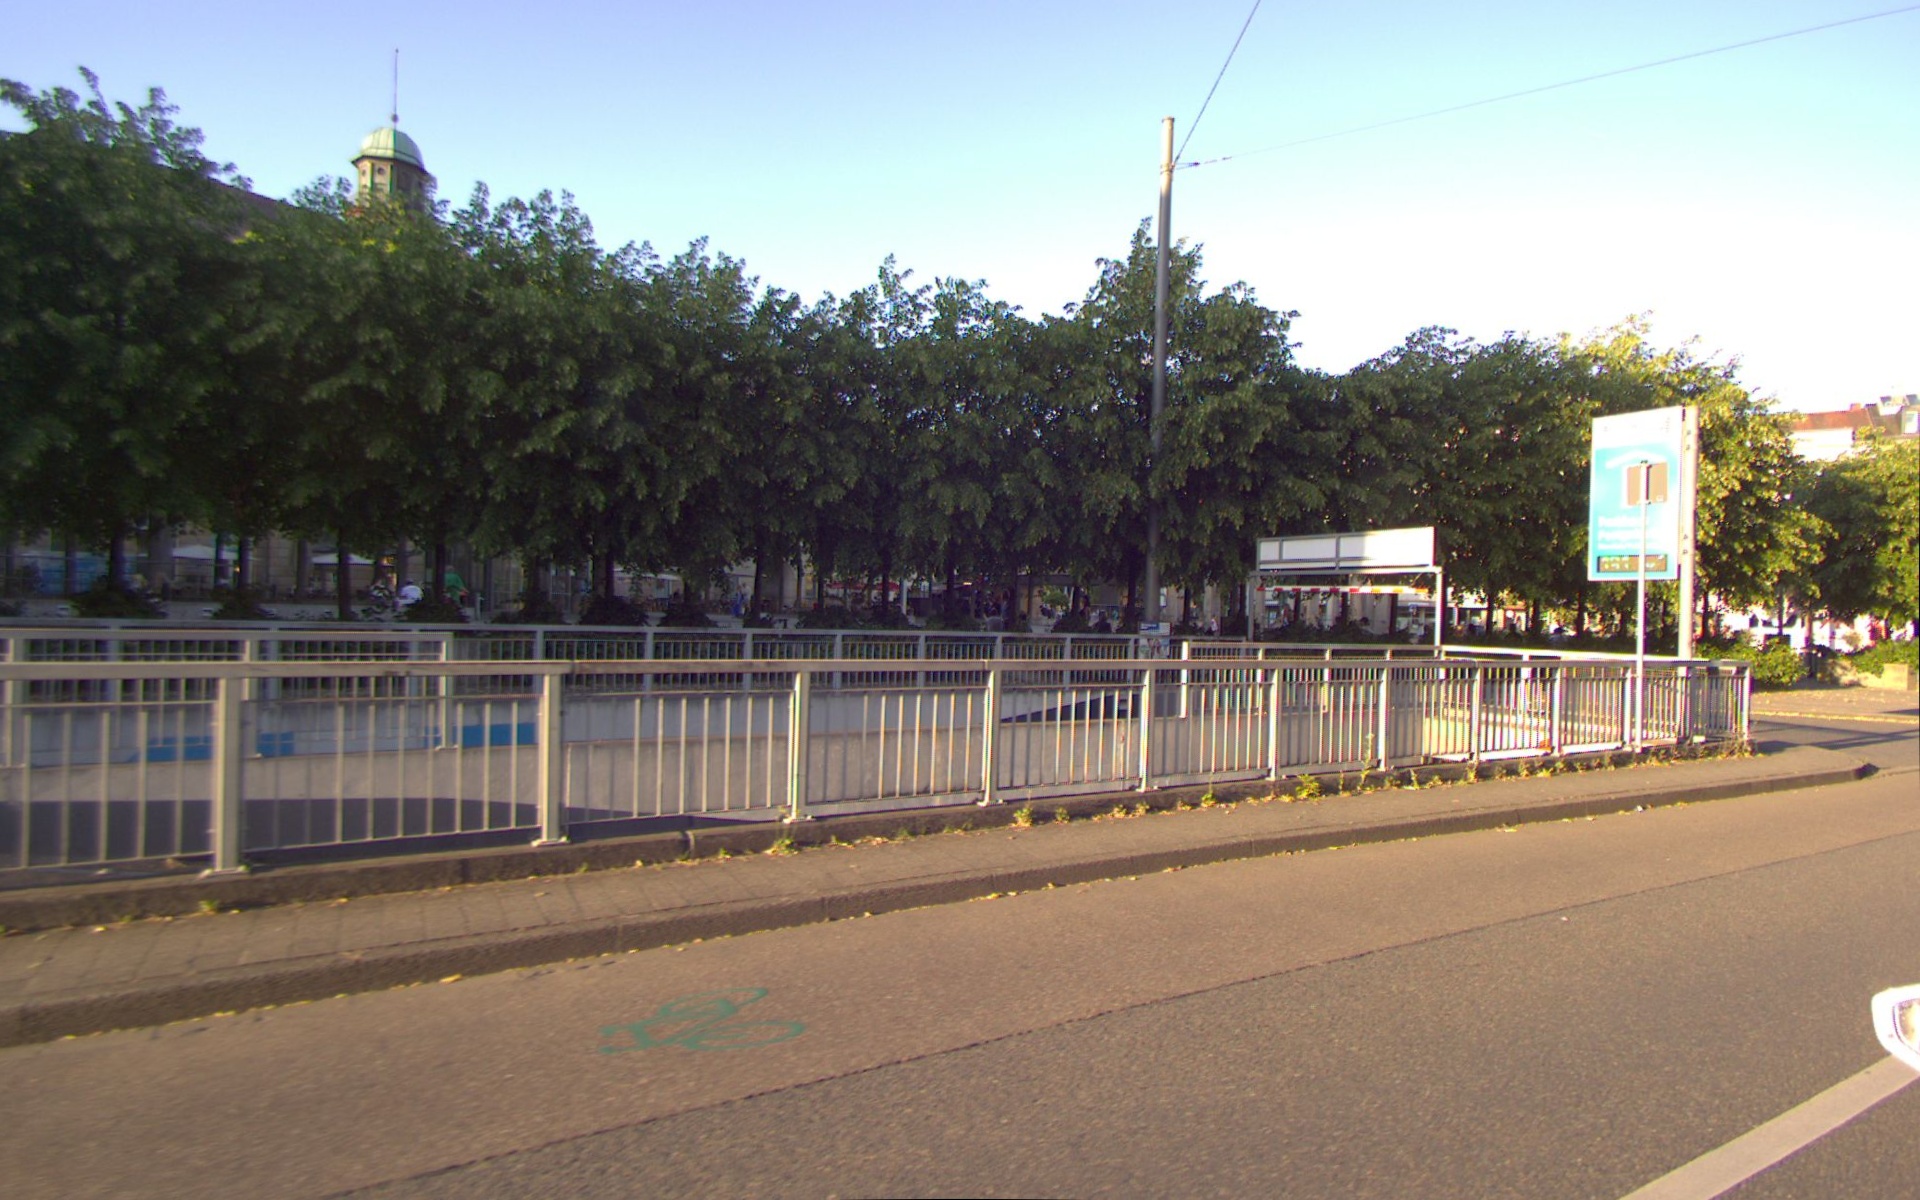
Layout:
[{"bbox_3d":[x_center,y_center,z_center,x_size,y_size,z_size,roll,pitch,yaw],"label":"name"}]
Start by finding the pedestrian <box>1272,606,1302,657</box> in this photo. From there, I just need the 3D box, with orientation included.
[{"bbox_3d":[12.697,1.217,39.029,0.720,1.974,0.800,1,0,-22],"label":"pedestrian"}]

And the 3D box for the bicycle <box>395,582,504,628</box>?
[{"bbox_3d":[-13.178,0.148,26.000,0.937,1.116,2.319,1,-1,38],"label":"bicycle"}]

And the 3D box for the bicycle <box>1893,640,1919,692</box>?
[{"bbox_3d":[25.226,1.735,25.320,0.801,1.301,2.507,2,0,-9],"label":"bicycle"}]

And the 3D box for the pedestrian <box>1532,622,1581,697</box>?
[{"bbox_3d":[15.944,1.579,26.856,0.719,1.974,0.802,1,0,-17],"label":"pedestrian"}]

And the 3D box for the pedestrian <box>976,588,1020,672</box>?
[{"bbox_3d":[0.938,0.733,24.928,0.902,2.040,0.913,2,0,-7],"label":"pedestrian"}]

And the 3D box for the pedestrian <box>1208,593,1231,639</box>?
[{"bbox_3d":[11.458,0.714,44.329,0.790,1.974,0.686,1,0,31],"label":"pedestrian"}]

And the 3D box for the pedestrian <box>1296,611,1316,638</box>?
[{"bbox_3d":[20.580,1.457,59.713,0.963,1.520,0.988,1,0,29],"label":"pedestrian"}]

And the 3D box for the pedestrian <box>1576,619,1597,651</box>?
[{"bbox_3d":[36.077,2.000,57.837,0.695,1.801,0.897,2,0,8],"label":"pedestrian"}]

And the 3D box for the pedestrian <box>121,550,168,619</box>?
[{"bbox_3d":[-20.953,-0.394,25.807,0.905,1.750,0.701,1,0,35],"label":"pedestrian"}]

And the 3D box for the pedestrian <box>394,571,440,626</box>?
[{"bbox_3d":[-16.767,-0.058,30.996,1.246,1.669,0.706,1,0,34],"label":"pedestrian"}]

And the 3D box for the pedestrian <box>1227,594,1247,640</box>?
[{"bbox_3d":[12.123,0.731,43.972,0.716,1.974,0.805,1,0,20],"label":"pedestrian"}]

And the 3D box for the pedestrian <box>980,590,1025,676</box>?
[{"bbox_3d":[1.011,0.785,24.352,0.902,2.040,0.913,2,0,-7],"label":"pedestrian"}]

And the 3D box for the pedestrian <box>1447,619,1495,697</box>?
[{"bbox_3d":[13.292,1.501,26.141,0.719,1.974,0.802,1,0,-17],"label":"pedestrian"}]

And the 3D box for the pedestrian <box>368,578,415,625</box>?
[{"bbox_3d":[-17.204,0.044,30.390,1.246,1.398,0.736,1,0,33],"label":"pedestrian"}]

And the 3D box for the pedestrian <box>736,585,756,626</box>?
[{"bbox_3d":[-10.494,0.292,49.317,0.716,1.974,0.805,1,0,2],"label":"pedestrian"}]

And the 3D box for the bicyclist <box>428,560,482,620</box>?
[{"bbox_3d":[-13.128,-0.257,26.092,1.361,1.529,0.749,1,0,40],"label":"bicyclist"}]

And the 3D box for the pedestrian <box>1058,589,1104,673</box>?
[{"bbox_3d":[3.019,0.754,25.112,0.902,2.040,0.913,2,0,-7],"label":"pedestrian"}]

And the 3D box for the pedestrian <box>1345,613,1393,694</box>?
[{"bbox_3d":[10.300,1.334,25.312,0.719,1.974,0.802,1,0,-17],"label":"pedestrian"}]

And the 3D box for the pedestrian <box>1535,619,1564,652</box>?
[{"bbox_3d":[33.749,2.025,57.510,1.169,1.801,0.710,2,0,5],"label":"pedestrian"}]
